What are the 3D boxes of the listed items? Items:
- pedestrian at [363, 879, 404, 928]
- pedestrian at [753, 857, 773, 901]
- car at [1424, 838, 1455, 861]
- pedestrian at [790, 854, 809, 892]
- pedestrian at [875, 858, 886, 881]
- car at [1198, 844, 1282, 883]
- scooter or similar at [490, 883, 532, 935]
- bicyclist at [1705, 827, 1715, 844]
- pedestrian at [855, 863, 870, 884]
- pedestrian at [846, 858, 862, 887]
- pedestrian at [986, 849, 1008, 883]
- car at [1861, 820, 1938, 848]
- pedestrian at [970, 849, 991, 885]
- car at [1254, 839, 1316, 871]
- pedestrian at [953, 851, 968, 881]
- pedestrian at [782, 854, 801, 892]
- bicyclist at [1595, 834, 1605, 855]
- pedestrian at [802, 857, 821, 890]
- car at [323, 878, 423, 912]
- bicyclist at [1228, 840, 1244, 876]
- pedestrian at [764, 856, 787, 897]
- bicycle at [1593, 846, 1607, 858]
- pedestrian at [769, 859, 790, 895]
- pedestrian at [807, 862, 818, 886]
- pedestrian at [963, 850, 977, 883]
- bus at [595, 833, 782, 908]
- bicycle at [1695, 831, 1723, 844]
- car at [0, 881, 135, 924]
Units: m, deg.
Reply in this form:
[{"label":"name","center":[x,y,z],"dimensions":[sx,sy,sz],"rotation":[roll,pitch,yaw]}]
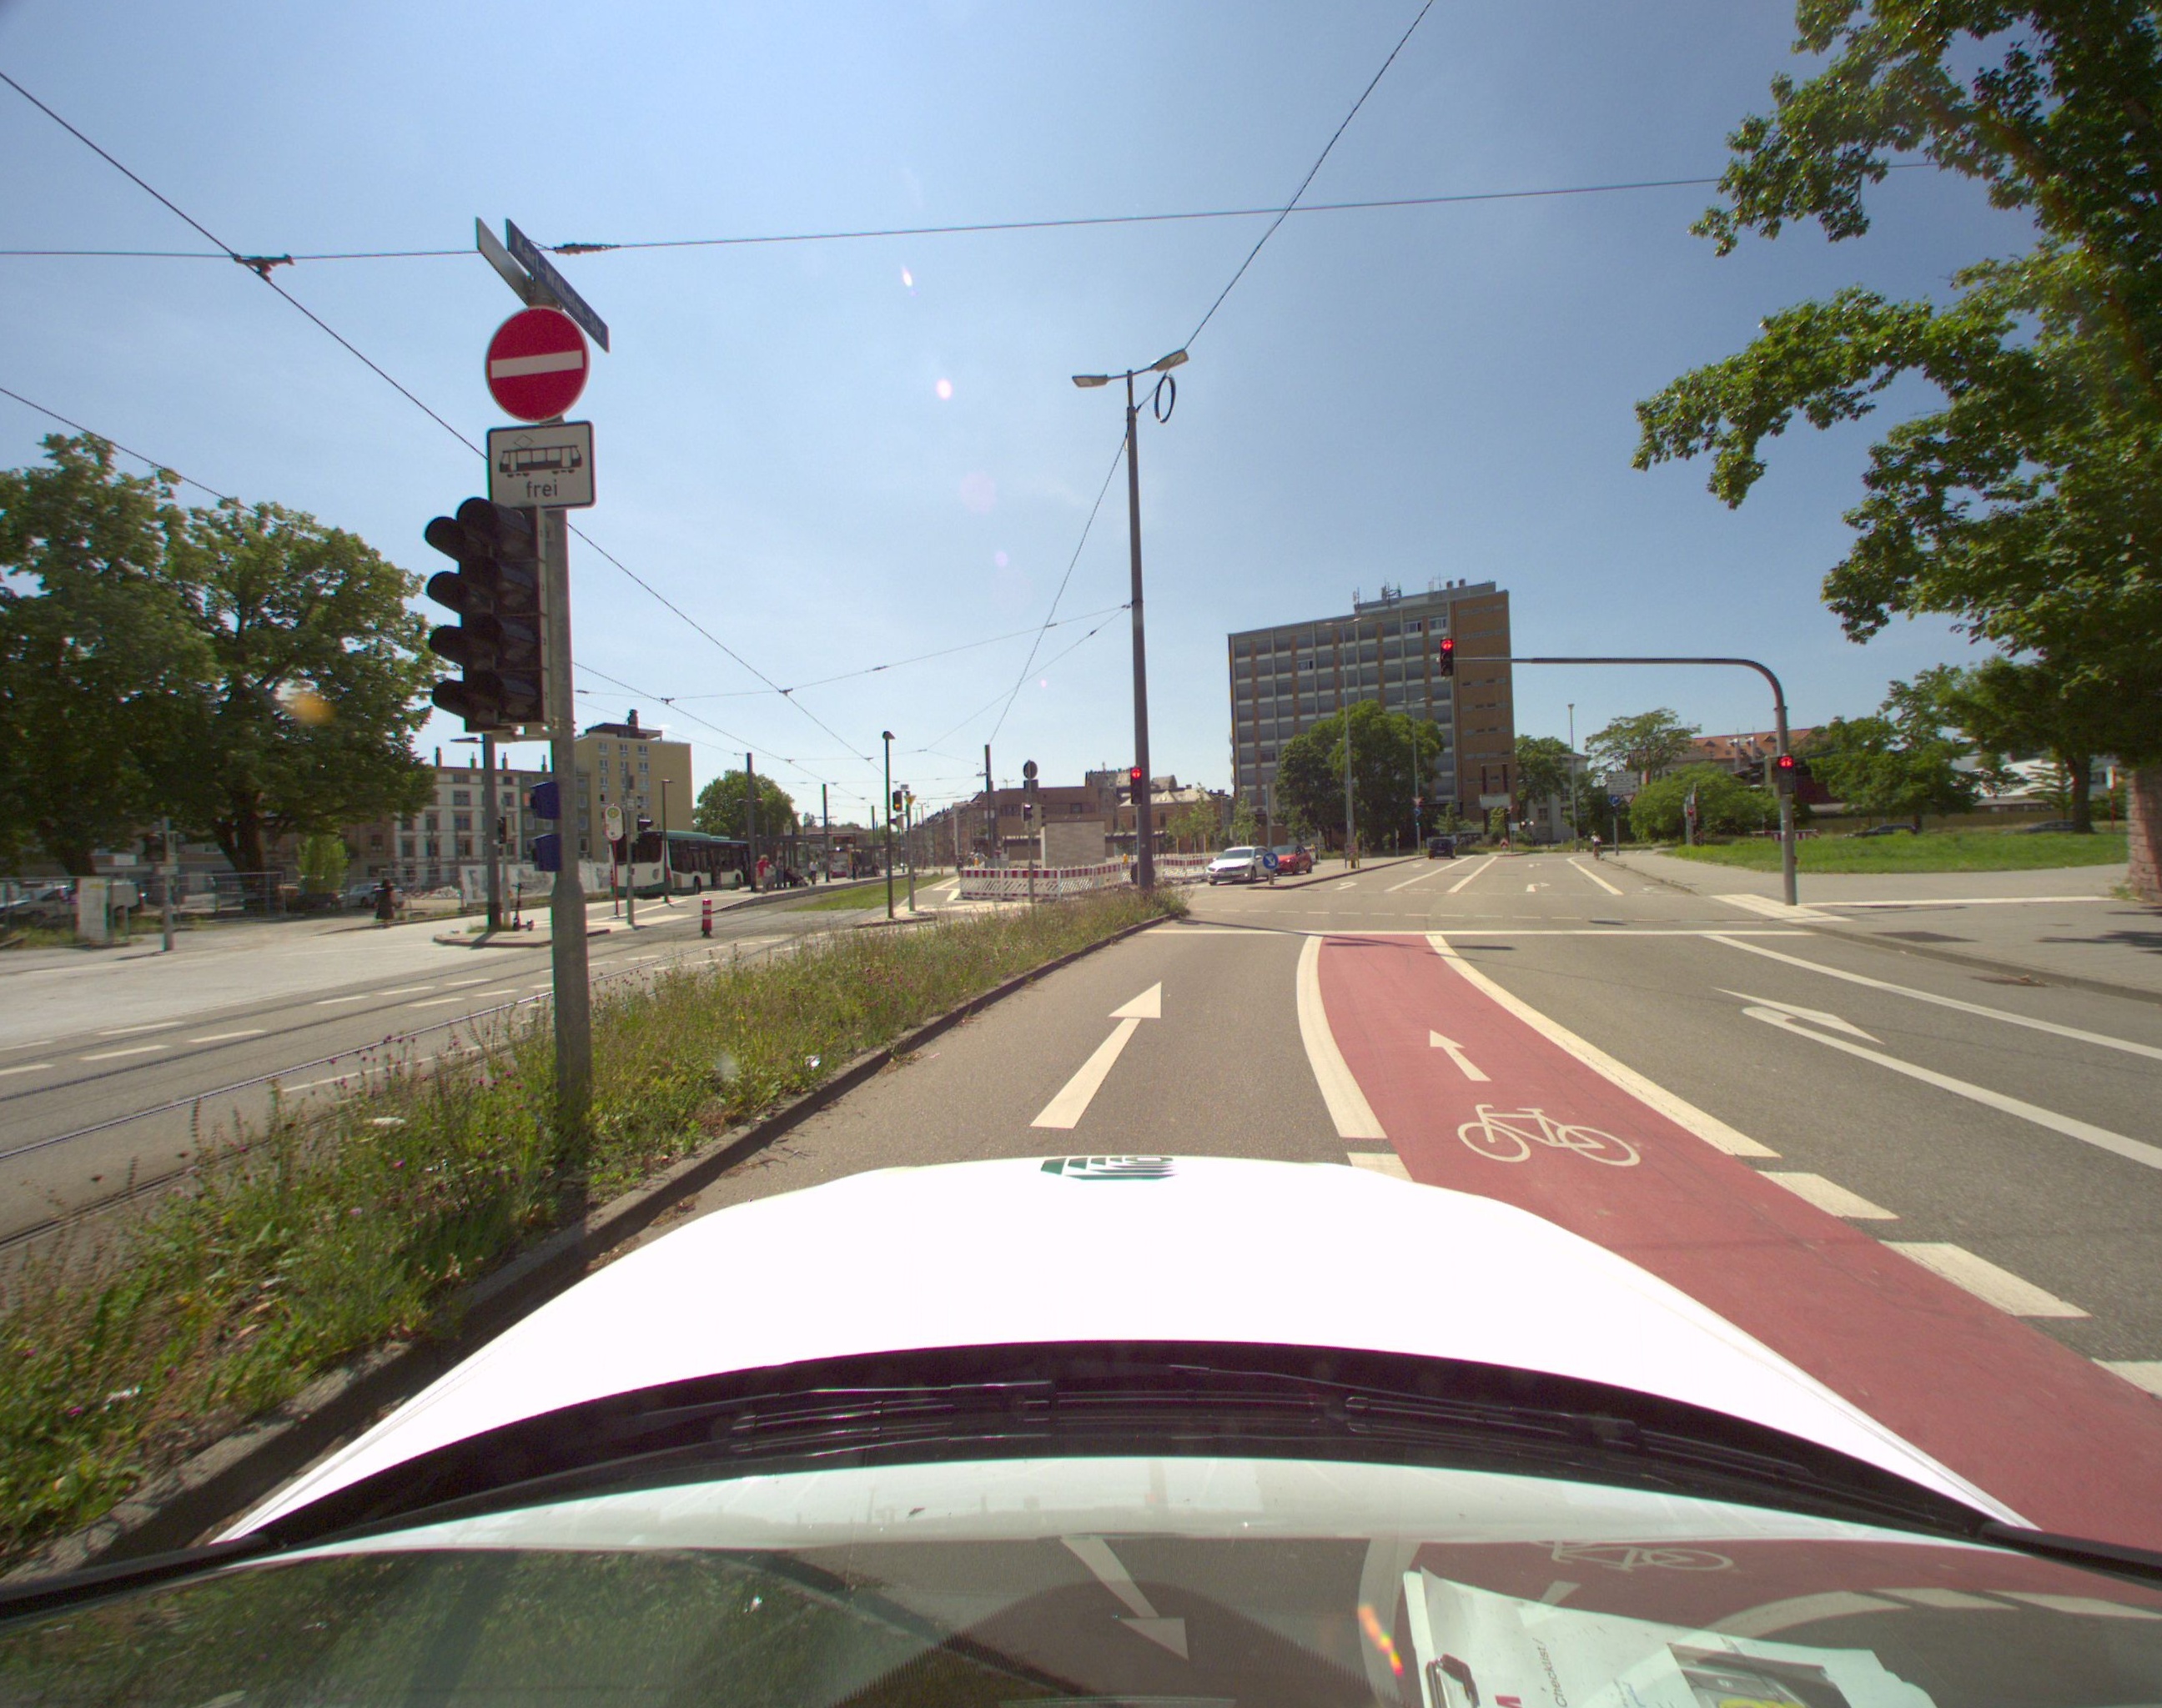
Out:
[{"label":"pedestrian","center":[-23.421,1.652,27.360],"dimensions":[0.603,1.602,0.827],"rotation":[-2,0,4]},{"label":"pedestrian","center":[-14.047,1.093,35.956],"dimensions":[0.674,1.909,0.637],"rotation":[-2,0,-16]},{"label":"car","center":[25.396,-0.337,57.704],"dimensions":[1.674,1.527,3.708],"rotation":[-3,-1,19]},{"label":"pedestrian","center":[-15.987,1.057,46.326],"dimensions":[0.901,2.096,0.827],"rotation":[-2,0,-17]},{"label":"pedestrian","center":[-18.790,1.454,76.422],"dimensions":[0.828,2.096,0.900],"rotation":[-2,0,-7]},{"label":"car","center":[6.626,0.356,33.563],"dimensions":[1.974,1.438,4.734],"rotation":[-3,-1,29]},{"label":"scooter or similar","center":[-14.187,1.358,20.293],"dimensions":[0.318,1.206,1.244],"rotation":[-2,0,-10]},{"label":"bicyclist","center":[59.448,-1.749,76.916],"dimensions":[0.677,1.488,0.789],"rotation":[-3,-2,40]},{"label":"pedestrian","center":[-19.229,1.696,71.654],"dimensions":[0.977,1.834,0.769],"rotation":[-2,0,-30]},{"label":"pedestrian","center":[-16.909,1.389,60.741],"dimensions":[0.896,2.096,0.831],"rotation":[-3,0,-1]},{"label":"pedestrian","center":[-4.620,0.661,44.721],"dimensions":[0.980,1.832,0.629],"rotation":[-2,0,-20]},{"label":"car","center":[64.721,-1.582,64.474],"dimensions":[3.948,2.014,1.479],"rotation":[-3,-1,32]},{"label":"pedestrian","center":[-5.351,0.685,43.269],"dimensions":[0.721,1.864,0.772],"rotation":[-3,-2,43]},{"label":"car","center":[9.951,0.039,39.464],"dimensions":[1.714,1.425,4.150],"rotation":[-3,-1,31]},{"label":"pedestrian","center":[-6.905,0.692,46.661],"dimensions":[0.728,1.707,0.739],"rotation":[-1,-1,-17]},{"label":"pedestrian","center":[-16.267,1.063,45.795],"dimensions":[0.901,2.096,0.827],"rotation":[-2,0,-17]},{"label":"bicyclist","center":[30.688,-0.563,48.182],"dimensions":[0.348,1.227,0.567],"rotation":[-3,0,21]},{"label":"pedestrian","center":[-17.361,1.247,52.446],"dimensions":[0.896,2.096,0.831],"rotation":[-3,0,-1]},{"label":"car","center":[-39.683,2.275,45.701],"dimensions":[4.161,1.649,1.855],"rotation":[-2,0,6]},{"label":"bicyclist","center":[7.424,0.185,39.043],"dimensions":[0.561,1.718,0.510],"rotation":[2,3,35]},{"label":"pedestrian","center":[-15.515,1.145,41.381],"dimensions":[0.943,1.990,1.023],"rotation":[-2,0,-15]},{"label":"bicycle","center":[30.694,-0.139,48.162],"dimensions":[0.373,0.646,1.653],"rotation":[-3,0,22]},{"label":"pedestrian","center":[-15.783,1.192,42.672],"dimensions":[0.913,1.851,0.654],"rotation":[-2,0,-16]},{"label":"pedestrian","center":[-24.146,1.837,73.253],"dimensions":[0.709,2.111,0.650],"rotation":[-2,0,-30]},{"label":"pedestrian","center":[-6.540,0.734,48.005],"dimensions":[0.719,1.923,1.070],"rotation":[-2,-1,-11]},{"label":"bus","center":[-20.290,0.750,44.245],"dimensions":[3.005,3.158,17.466],"rotation":[-2,0,-5]},{"label":"bicycle","center":[59.356,-1.520,76.953],"dimensions":[1.987,1.135,0.577],"rotation":[-3,-2,41]},{"label":"car","center":[-53.235,2.474,42.167],"dimensions":[2.096,1.884,5.057],"rotation":[-3,0,14]}]
